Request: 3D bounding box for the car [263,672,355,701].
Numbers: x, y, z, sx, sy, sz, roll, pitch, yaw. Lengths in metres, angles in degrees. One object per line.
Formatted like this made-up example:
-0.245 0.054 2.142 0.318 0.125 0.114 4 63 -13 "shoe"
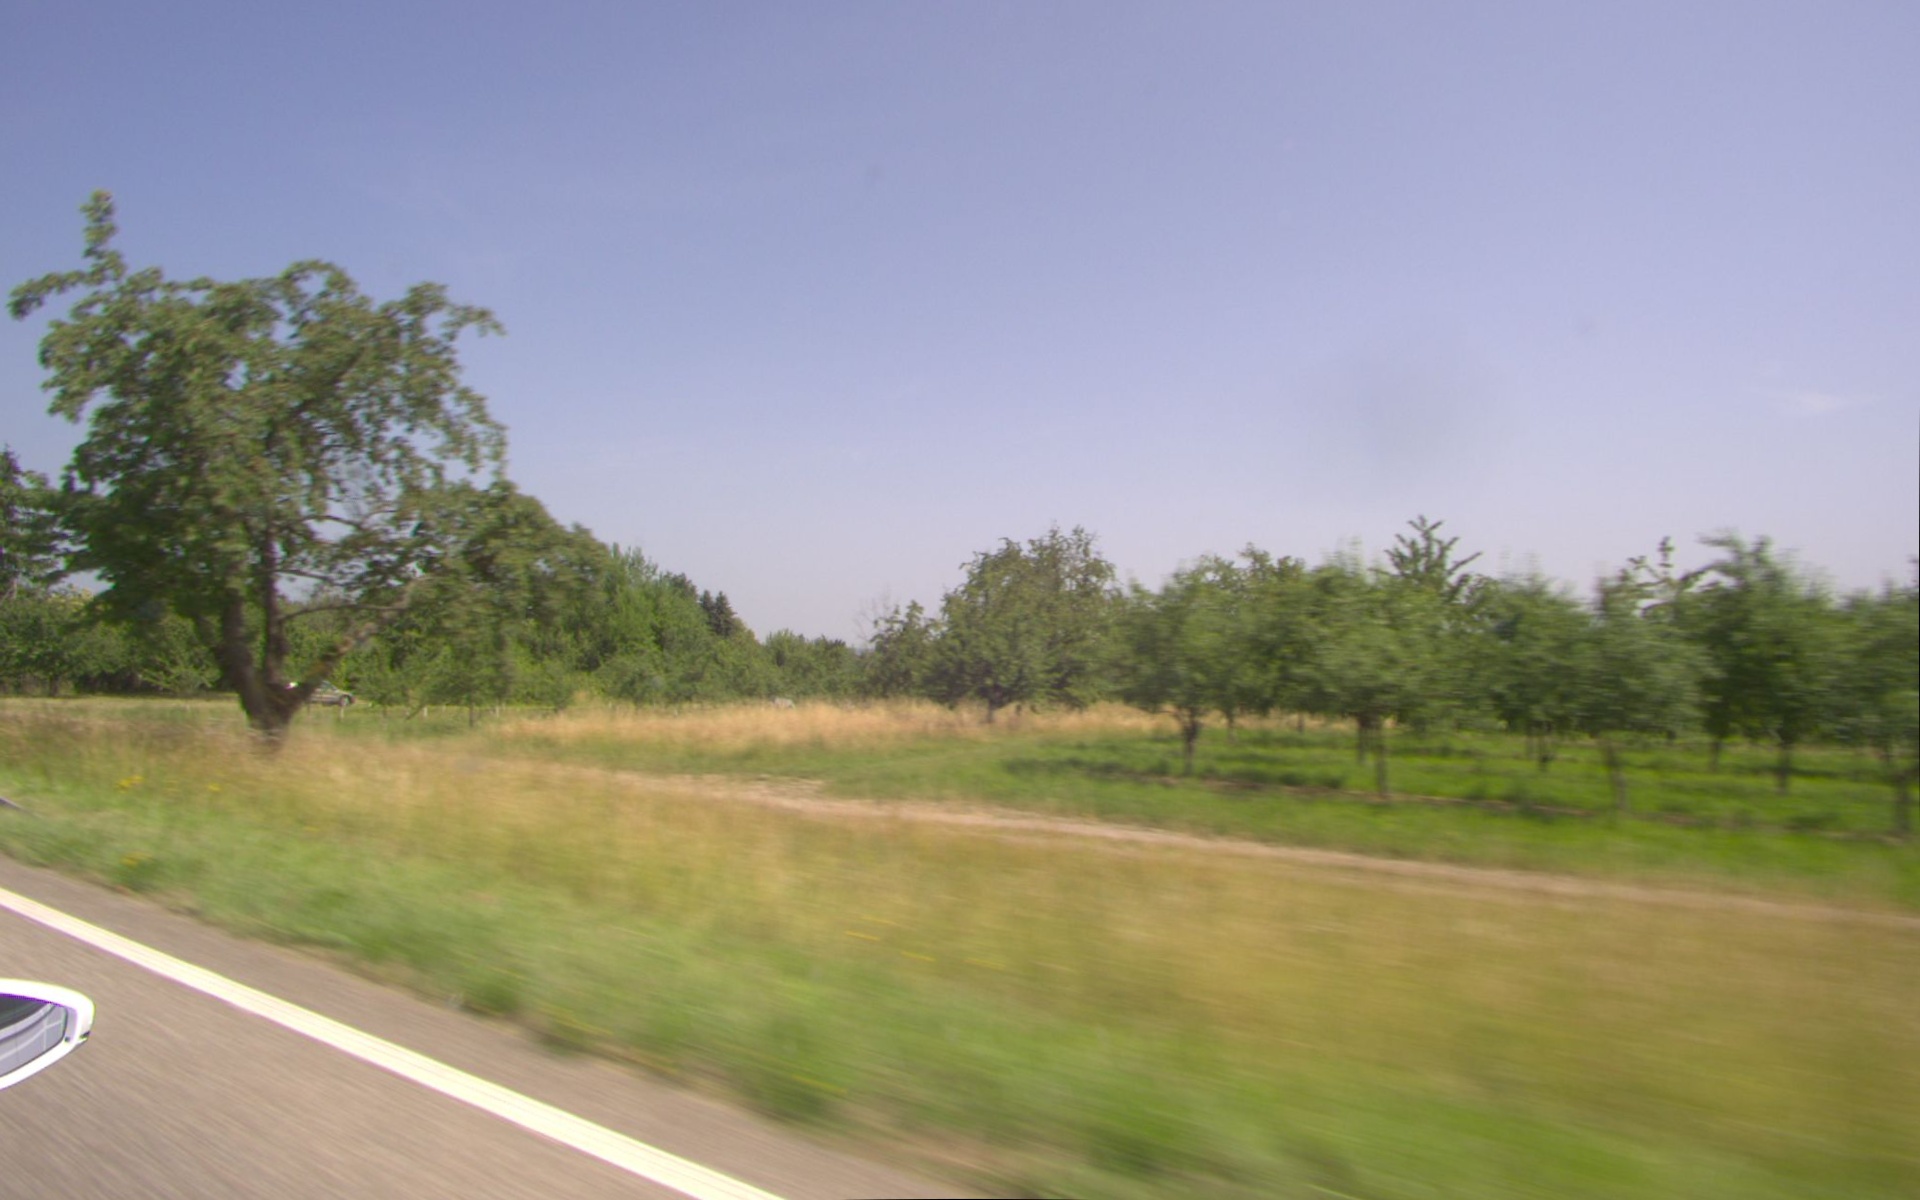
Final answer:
-37.729 5.055 58.121 1.826 1.552 4.087 -1 -6 23 "car"
